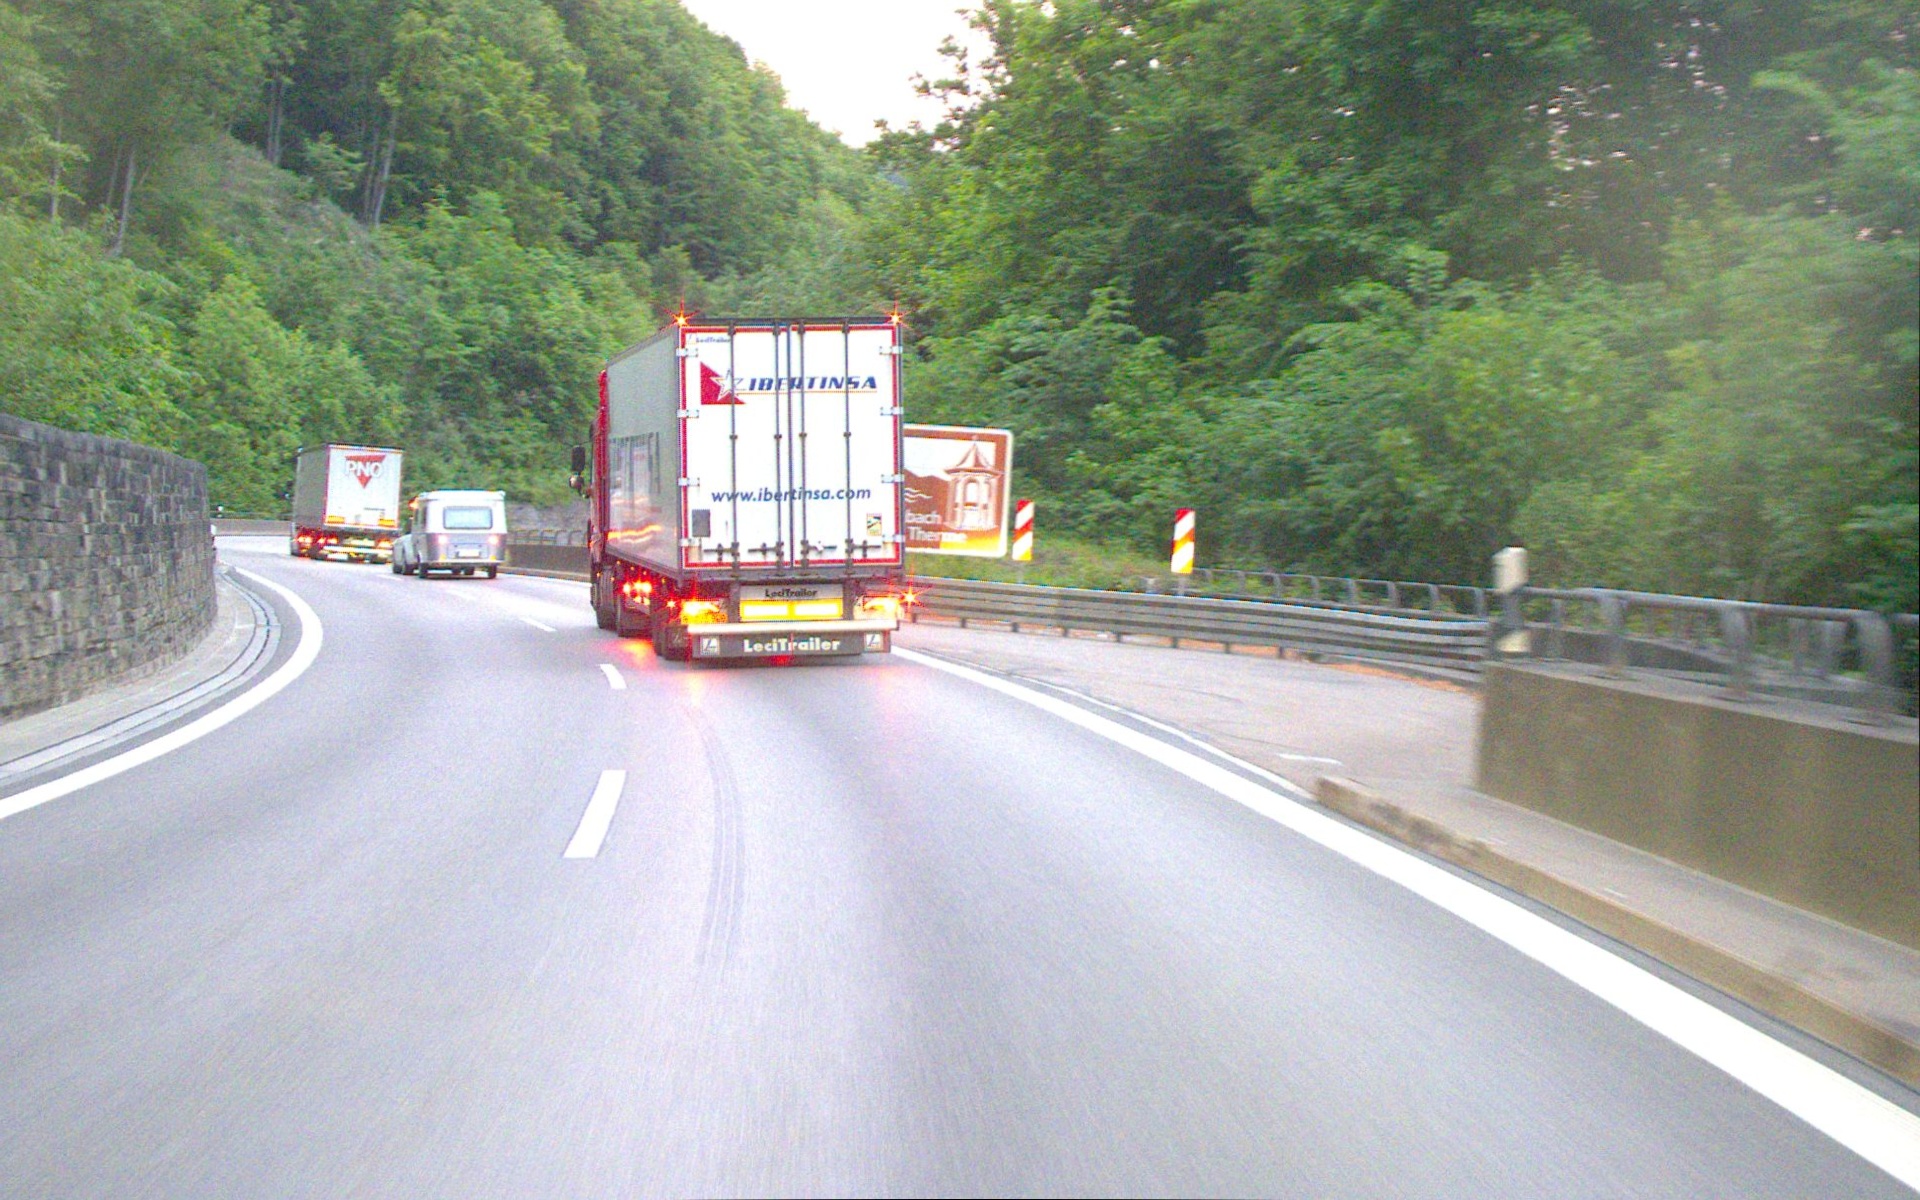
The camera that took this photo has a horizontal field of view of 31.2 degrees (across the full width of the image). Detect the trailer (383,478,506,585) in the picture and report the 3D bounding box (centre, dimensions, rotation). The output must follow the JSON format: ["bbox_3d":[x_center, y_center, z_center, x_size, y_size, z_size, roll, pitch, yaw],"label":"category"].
[{"bbox_3d":[-13.423,-1.811,89.235,2.054,2.366,5.941,6,1,-18],"label":"trailer"}]

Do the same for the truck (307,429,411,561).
[{"bbox_3d":[-21.324,-3.593,122.736,3.294,4.159,16.506,2,0,-9],"label":"truck"}]

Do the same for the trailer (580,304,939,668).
[{"bbox_3d":[-2.967,-1.707,45.002,3.096,3.956,14.224,-2,4,-9],"label":"trailer"}]

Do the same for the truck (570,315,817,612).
[{"bbox_3d":[-4.109,-2.141,51.752,3.068,4.129,6.450,-2,4,-9],"label":"truck"}]
